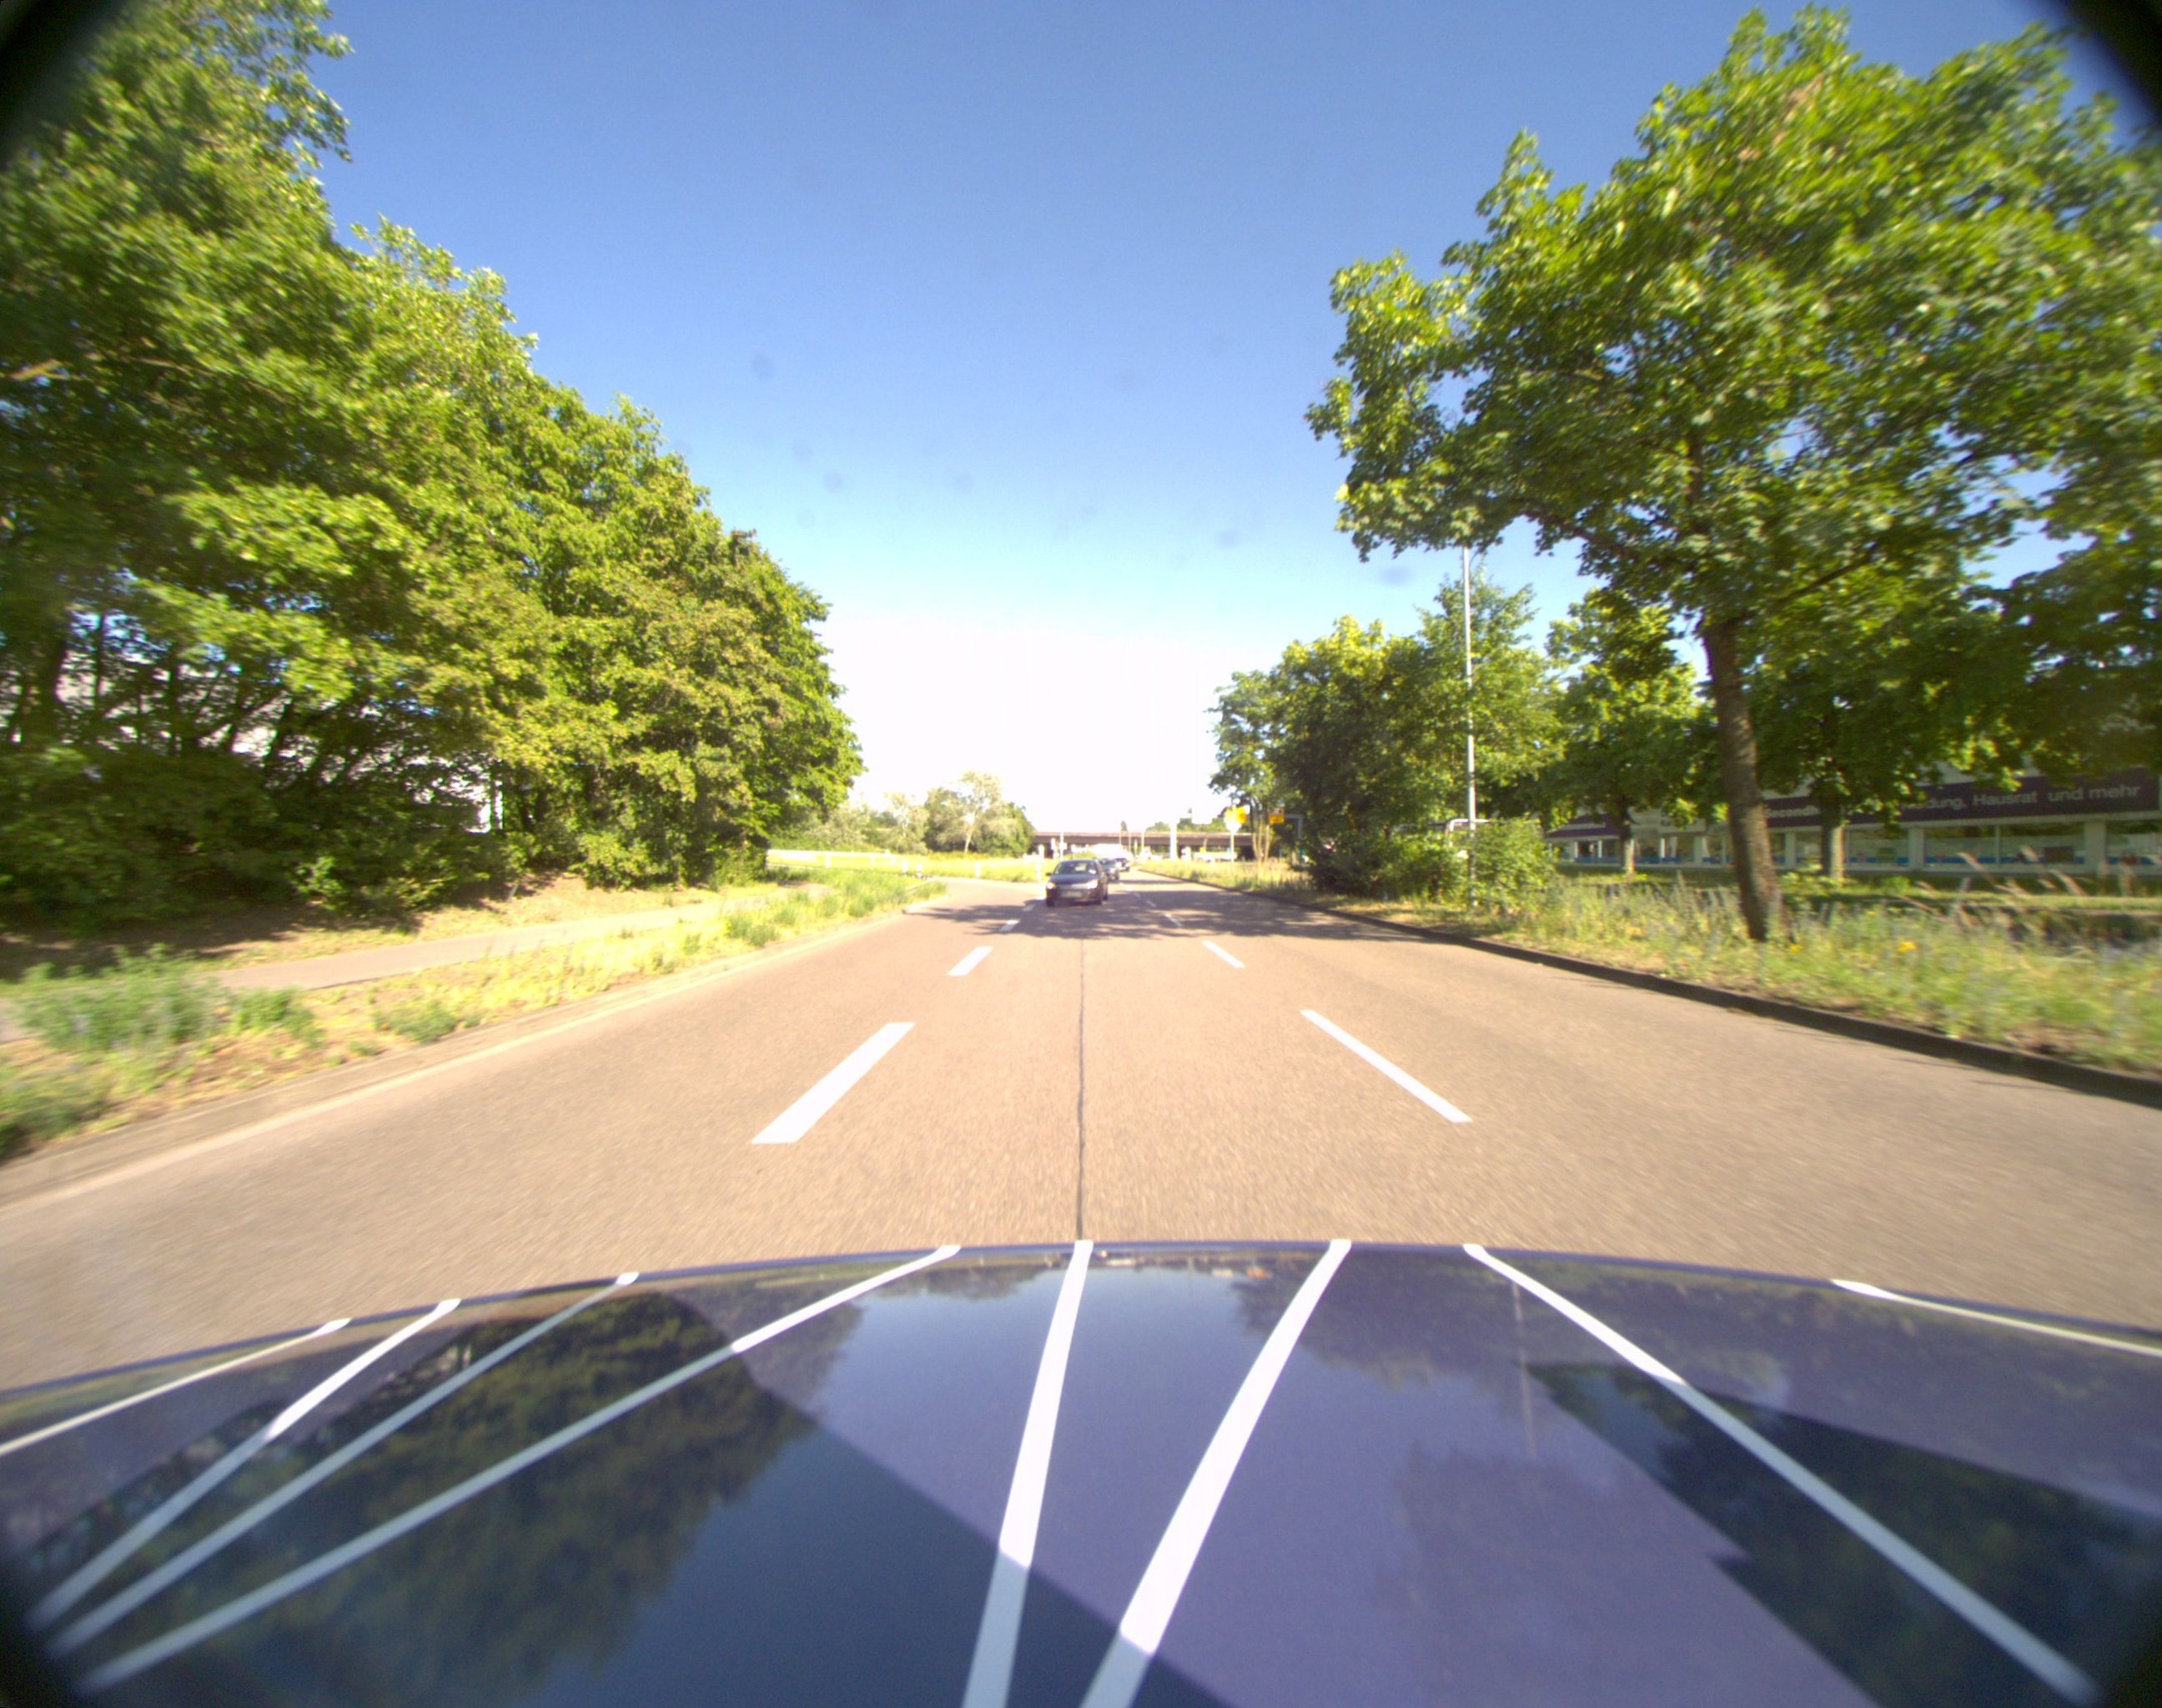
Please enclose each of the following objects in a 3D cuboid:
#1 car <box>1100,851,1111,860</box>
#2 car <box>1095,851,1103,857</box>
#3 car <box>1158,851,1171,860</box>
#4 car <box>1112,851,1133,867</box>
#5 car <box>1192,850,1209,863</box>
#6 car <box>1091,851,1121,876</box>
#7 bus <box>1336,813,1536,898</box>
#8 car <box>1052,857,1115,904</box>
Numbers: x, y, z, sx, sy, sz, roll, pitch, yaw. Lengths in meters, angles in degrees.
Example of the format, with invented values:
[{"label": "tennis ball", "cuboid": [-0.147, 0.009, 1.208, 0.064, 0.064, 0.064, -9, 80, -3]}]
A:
[{"label": "car", "cuboid": [4.423, 0.192, 135.580, 1.827, 1.528, 4.042, -1, 0, 0]}, {"label": "car", "cuboid": [3.862, -0.017, 164.608, 1.627, 1.428, 3.279, -1, 0, 3]}, {"label": "car", "cuboid": [16.101, 0.209, 147.314, 1.947, 1.687, 4.629, 2, 0, 0]}, {"label": "car", "cuboid": [4.027, 0.443, 74.569, 1.827, 1.528, 4.042, 0, 0, 0]}, {"label": "car", "cuboid": [16.626, 0.374, 105.731, 1.711, 1.736, 4.165, 0, 0, -1]}, {"label": "car", "cuboid": [1.589, 0.614, 49.955, 1.827, 1.528, 4.042, 0, 0, 0]}, {"label": "bus", "cuboid": [13.607, 0.048, 30.671, 2.728, 2.705, 11.087, 2, 0, 0]}, {"label": "car", "cuboid": [0.170, 0.853, 26.174, 1.706, 1.447, 3.961, -1, 0, 7]}]
